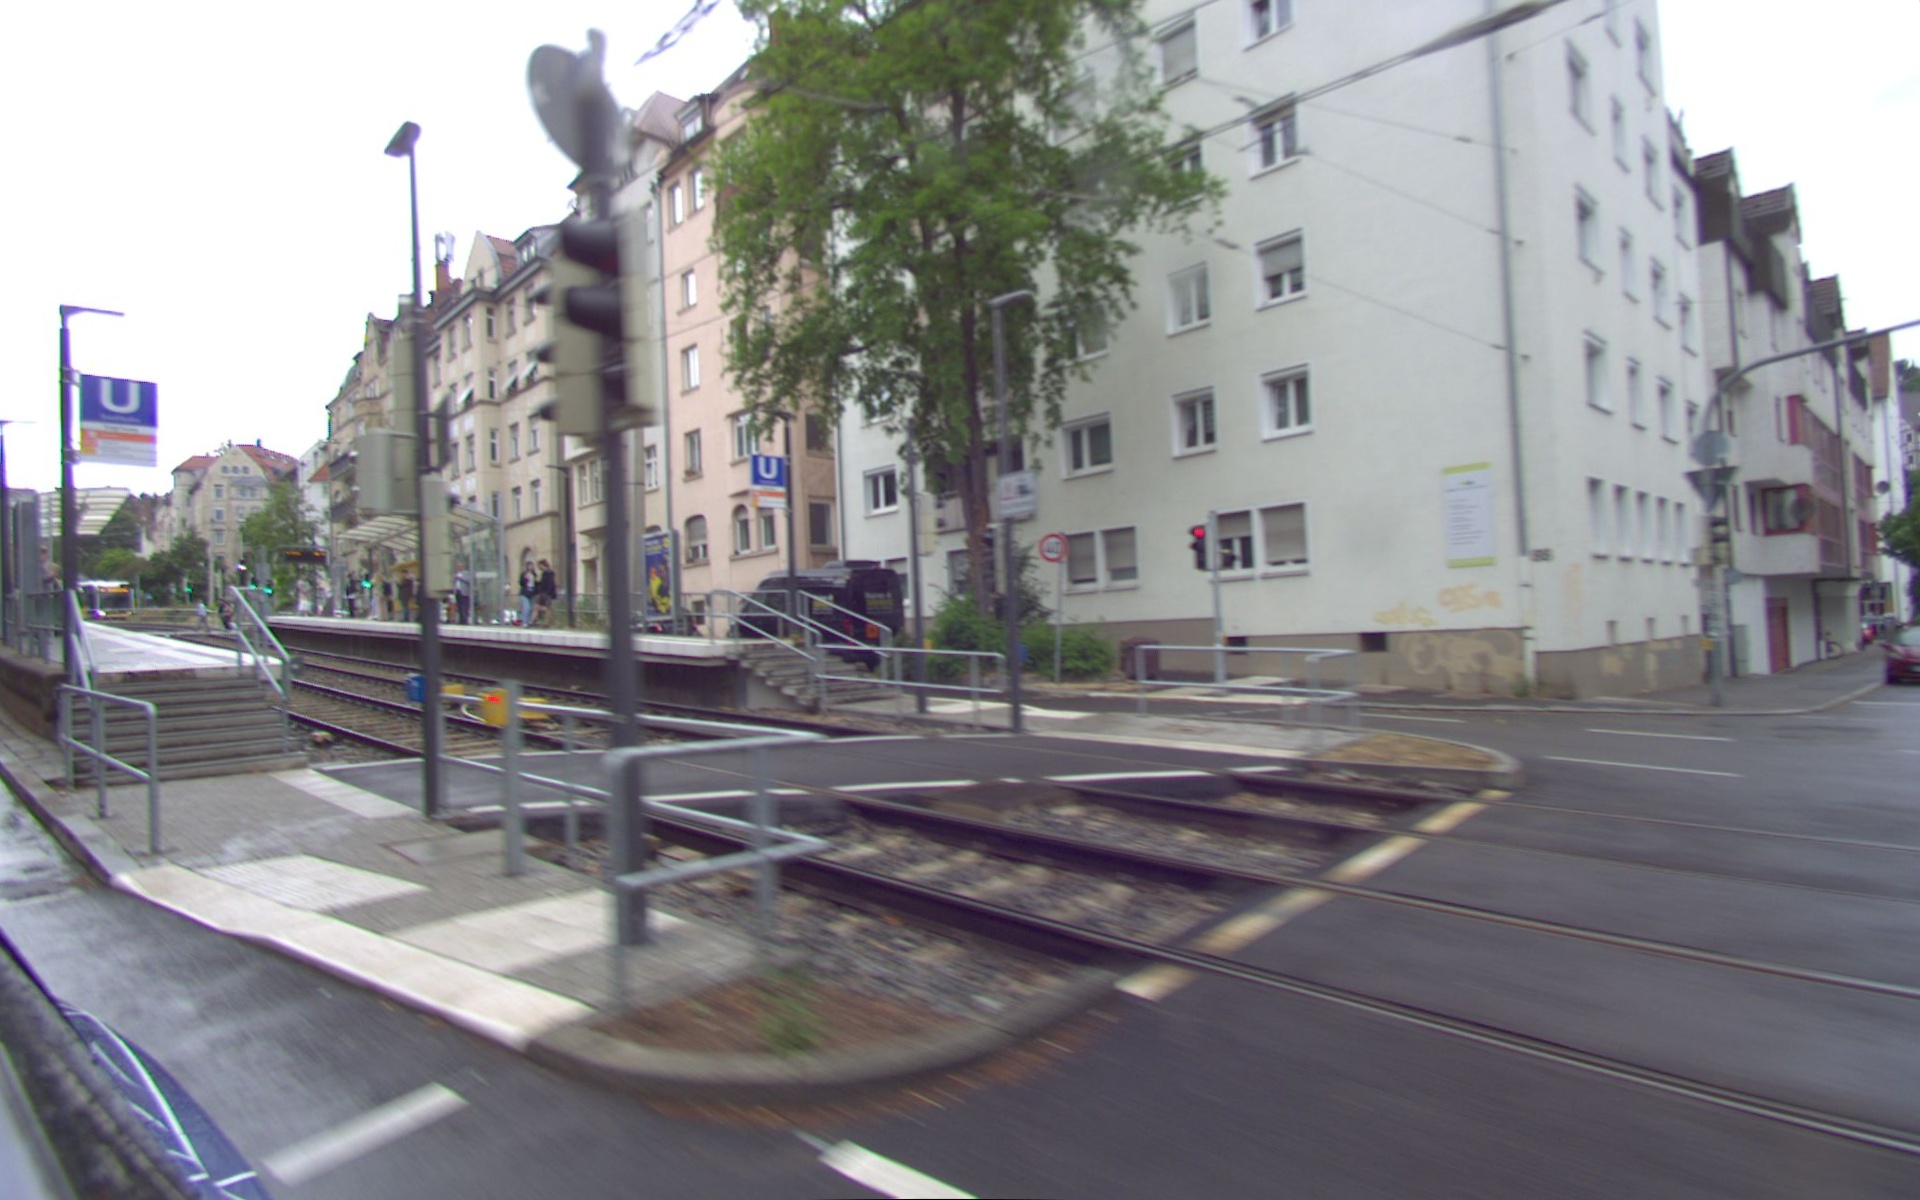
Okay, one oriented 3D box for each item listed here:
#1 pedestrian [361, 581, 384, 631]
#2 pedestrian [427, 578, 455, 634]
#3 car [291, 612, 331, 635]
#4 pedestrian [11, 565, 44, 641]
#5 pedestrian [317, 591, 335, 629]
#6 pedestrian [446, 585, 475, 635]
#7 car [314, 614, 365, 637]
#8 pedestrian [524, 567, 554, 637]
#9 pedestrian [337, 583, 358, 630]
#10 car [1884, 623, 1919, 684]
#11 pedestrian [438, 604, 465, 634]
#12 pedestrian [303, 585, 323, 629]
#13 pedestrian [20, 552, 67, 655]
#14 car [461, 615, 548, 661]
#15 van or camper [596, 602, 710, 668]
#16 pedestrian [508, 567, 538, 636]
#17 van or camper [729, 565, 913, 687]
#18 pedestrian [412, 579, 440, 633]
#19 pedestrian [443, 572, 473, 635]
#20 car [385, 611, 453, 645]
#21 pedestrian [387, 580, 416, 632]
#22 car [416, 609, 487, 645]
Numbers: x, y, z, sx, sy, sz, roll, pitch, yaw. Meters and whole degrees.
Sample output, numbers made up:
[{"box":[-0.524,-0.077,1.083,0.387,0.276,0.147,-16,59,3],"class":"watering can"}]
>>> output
[{"box":[-22.177,0.239,38.209,0.510,1.852,0.762,3,-2,-44],"class":"pedestrian"},{"box":[-15.949,0.195,31.088,0.543,1.678,0.614,3,-2,-44],"class":"pedestrian"},{"box":[-46.110,1.657,71.845,1.611,1.559,4.178,1,-1,-43],"class":"car"},{"box":[-23.777,0.083,25.797,0.712,1.895,0.583,-1,-1,45],"class":"pedestrian"},{"box":[-27.541,0.439,43.936,0.510,1.617,0.563,3,-2,-44],"class":"pedestrian"},{"box":[-14.579,0.288,29.548,0.543,1.424,0.614,3,-2,-44],"class":"pedestrian"},{"box":[-39.732,1.599,64.759,1.697,1.453,4.871,1,-1,-44],"class":"car"},{"box":[-10.752,0.053,25.850,0.477,1.754,0.564,3,-2,-44],"class":"pedestrian"},{"box":[-24.657,0.256,40.740,0.510,1.852,0.762,3,-2,-44],"class":"pedestrian"},{"box":[25.705,1.379,26.408,4.658,1.513,2.002,2,-2,-43],"class":"car"},{"box":[-15.183,0.566,30.212,0.543,0.878,0.614,3,-2,-44],"class":"pedestrian"},{"box":[-28.193,0.307,44.108,0.554,1.864,0.599,3,-2,-44],"class":"pedestrian"},{"box":[-16.632,0.055,18.372,0.661,1.821,0.583,-1,0,45],"class":"pedestrian"},{"box":[-19.107,1.559,42.362,1.969,1.745,4.820,2,-1,-41],"class":"car"},{"box":[-10.154,1.144,33.319,1.970,2.029,4.002,2,-3,-44],"class":"van or camper"},{"box":[-11.290,0.049,26.150,0.477,1.754,0.564,3,-2,-44],"class":"pedestrian"},{"box":[-3.640,0.675,25.968,4.861,2.826,1.973,-1,-2,41],"class":"van or camper"},{"box":[-16.805,0.197,31.829,0.587,1.678,0.592,3,-2,-44],"class":"pedestrian"},{"box":[-14.050,0.102,28.317,0.543,1.754,0.614,3,-2,-44],"class":"pedestrian"},{"box":[-28.417,1.443,53.102,1.970,1.544,4.537,-2,2,-43],"class":"car"},{"box":[-18.478,0.207,33.482,0.587,1.678,0.762,3,-2,-44],"class":"pedestrian"},{"box":[-24.619,1.297,48.937,1.900,1.635,4.540,2,-2,-42],"class":"car"}]
